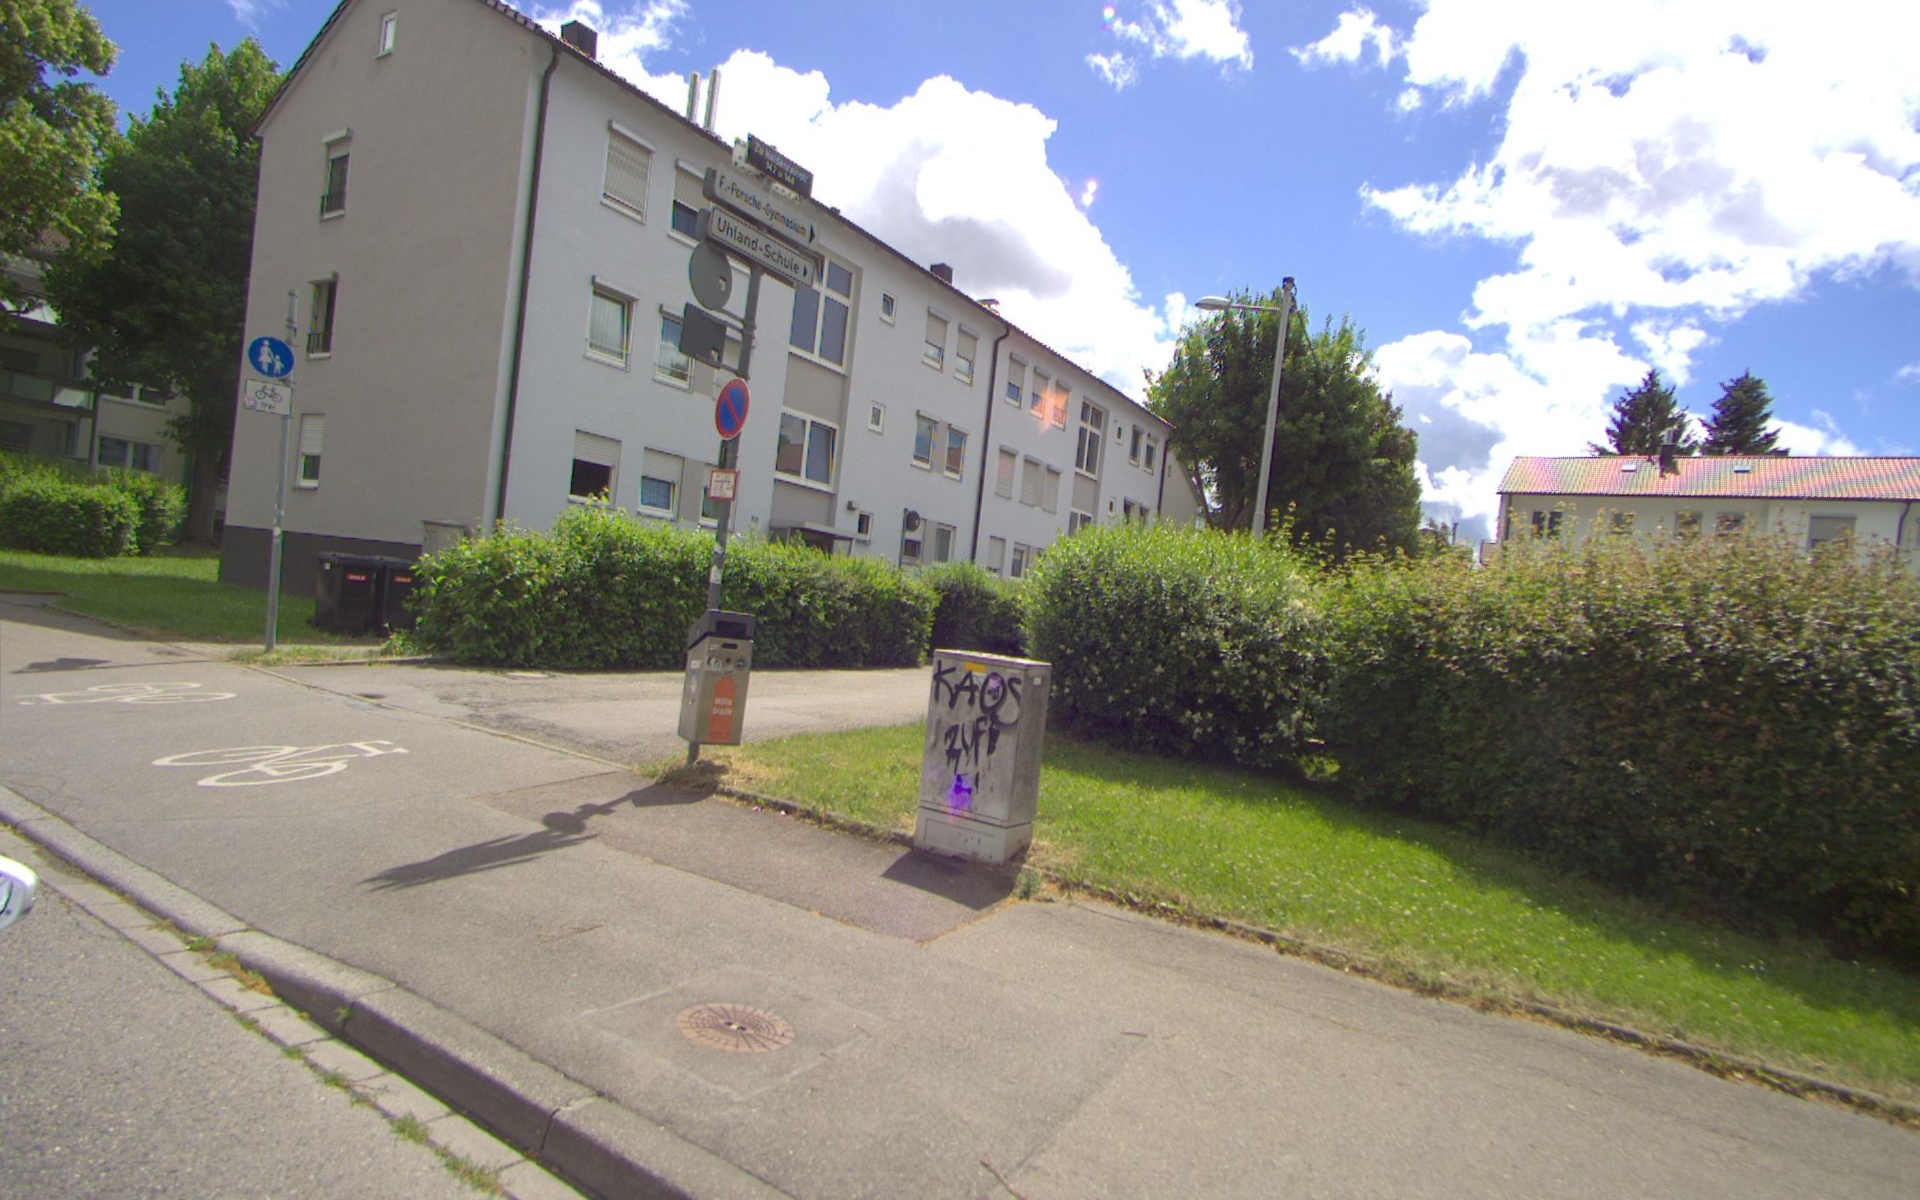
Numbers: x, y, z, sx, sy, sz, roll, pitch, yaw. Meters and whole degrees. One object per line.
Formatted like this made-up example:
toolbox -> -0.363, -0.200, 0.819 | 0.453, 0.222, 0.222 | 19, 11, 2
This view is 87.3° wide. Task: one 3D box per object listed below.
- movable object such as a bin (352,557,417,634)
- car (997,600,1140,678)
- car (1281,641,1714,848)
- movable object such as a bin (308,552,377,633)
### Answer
movable object such as a bin -> -7.753, -0.061, 13.551 | 0.542, 0.959, 0.500 | 7, 2, 32
car -> 2.517, 0.901, 22.657 | 1.547, 1.457, 3.726 | 7, 1, 33
car -> 5.583, 1.428, 10.756 | 3.681, 1.432, 1.679 | 7, -2, 32
movable object such as a bin -> -7.978, -0.091, 13.004 | 0.571, 0.967, 0.496 | 7, 2, 32
